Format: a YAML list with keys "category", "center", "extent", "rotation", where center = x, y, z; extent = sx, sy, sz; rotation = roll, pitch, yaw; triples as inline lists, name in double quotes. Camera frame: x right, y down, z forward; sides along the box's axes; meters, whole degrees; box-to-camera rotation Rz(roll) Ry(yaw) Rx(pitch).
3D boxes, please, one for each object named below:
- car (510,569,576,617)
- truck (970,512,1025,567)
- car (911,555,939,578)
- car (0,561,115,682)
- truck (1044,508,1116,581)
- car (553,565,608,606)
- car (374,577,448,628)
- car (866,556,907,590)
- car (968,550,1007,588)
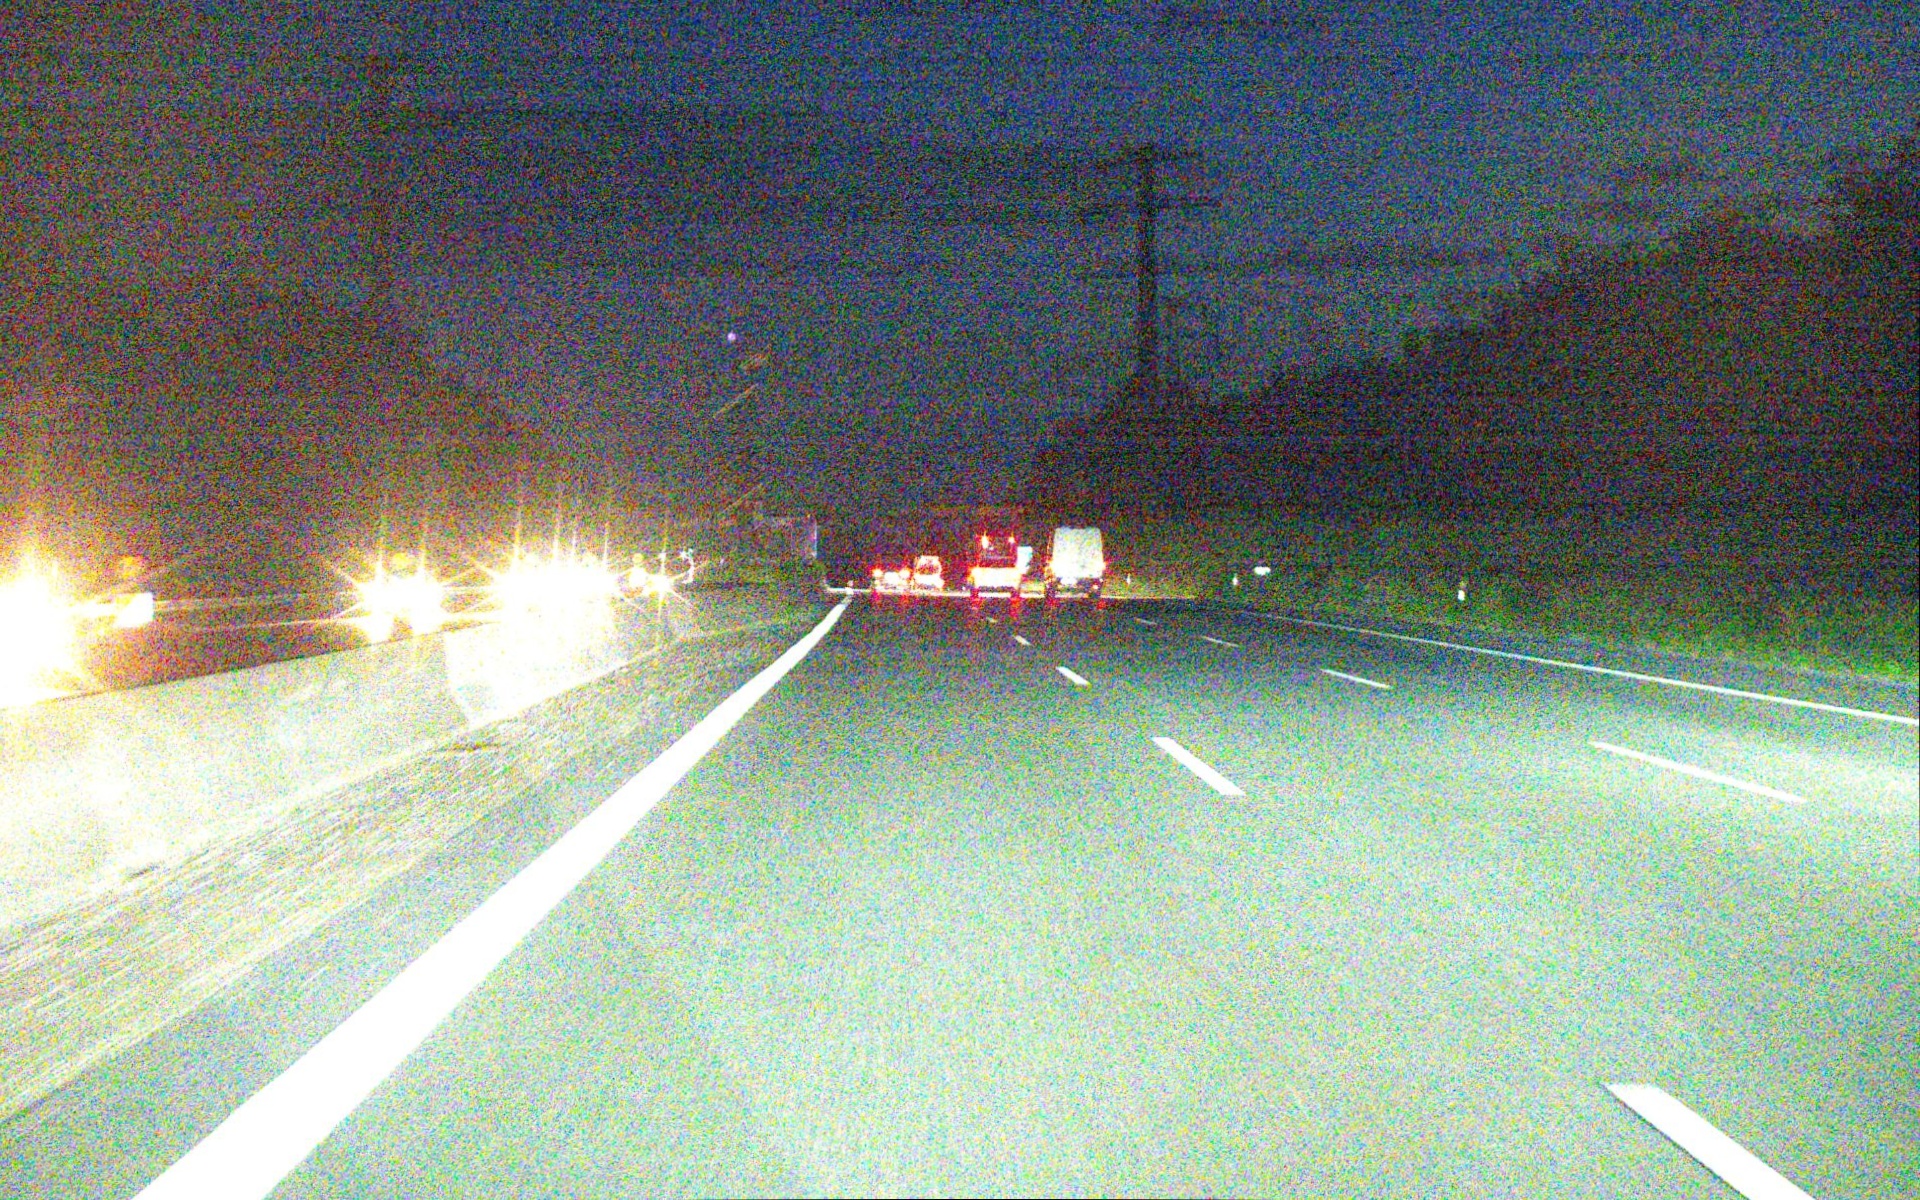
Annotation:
- category: "car"
  center: [-13.814, -0.239, 114.101]
  extent: [1.750, 1.473, 4.583]
  rotation: [-2, 1, -2]
- category: "truck"
  center: [2.314, -3.786, 216.267]
  extent: [3.044, 3.313, 10.142]
  rotation: [1, 1, -1]
- category: "car"
  center: [-2.376, -2.290, 233.115]
  extent: [1.821, 1.461, 4.248]
  rotation: [1, 1, -1]
- category: "car"
  center: [-12.487, 0.265, 45.178]
  extent: [1.750, 1.473, 4.583]
  rotation: [-2, 1, -2]
- category: "truck"
  center: [4.620, -2.166, 133.306]
  extent: [2.076, 2.682, 7.309]
  rotation: [1, 1, -3]
- category: "car"
  center: [-14.777, -0.577, 134.051]
  extent: [1.750, 1.473, 4.583]
  rotation: [-2, 1, -2]
- category: "car"
  center: [-17.467, 0.068, 109.496]
  extent: [1.750, 1.473, 4.583]
  rotation: [-2, 1, -2]
- category: "car"
  center: [-3.409, -1.265, 159.533]
  extent: [1.821, 1.461, 4.248]
  rotation: [1, 1, -1]
- category: "car"
  center: [1.056, -1.202, 132.017]
  extent: [1.346, 1.382, 3.502]
  rotation: [1, 1, -1]
